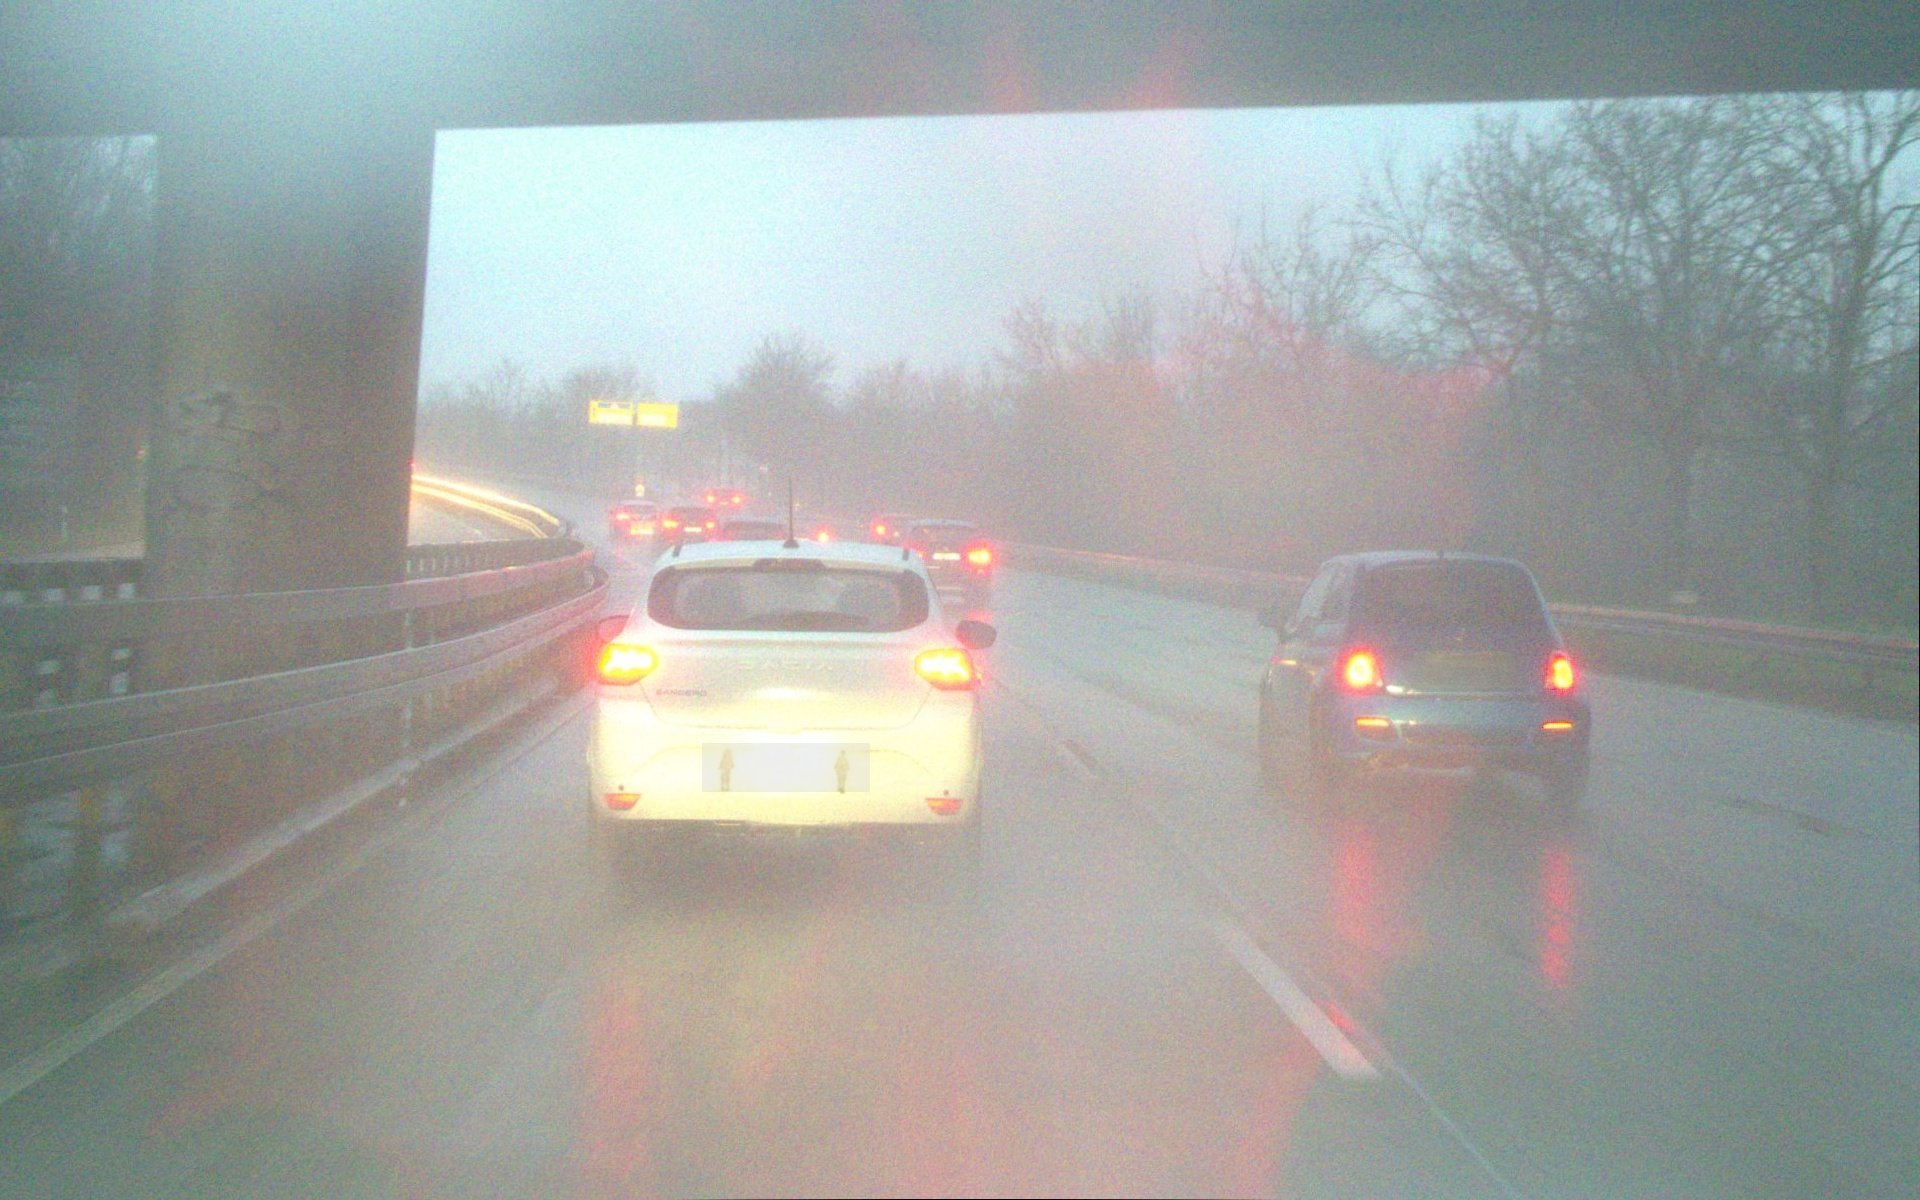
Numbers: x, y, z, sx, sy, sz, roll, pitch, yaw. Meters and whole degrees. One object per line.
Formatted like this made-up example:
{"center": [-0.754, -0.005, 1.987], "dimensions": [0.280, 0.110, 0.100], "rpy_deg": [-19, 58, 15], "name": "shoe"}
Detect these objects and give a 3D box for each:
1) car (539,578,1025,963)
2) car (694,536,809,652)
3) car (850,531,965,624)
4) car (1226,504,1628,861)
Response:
{"center": [-0.803, 0.741, 16.841], "dimensions": [2.025, 1.569, 4.000], "rpy_deg": [3, 0, -1], "name": "car"}
{"center": [-3.864, -0.108, 64.239], "dimensions": [1.993, 2.007, 4.000], "rpy_deg": [3, 0, -3], "name": "car"}
{"center": [-1.030, -0.405, 65.837], "dimensions": [1.932, 1.541, 3.773], "rpy_deg": [-3, -2, -4], "name": "car"}
{"center": [2.895, 0.492, 22.139], "dimensions": [1.932, 2.012, 3.773], "rpy_deg": [3, 0, -1], "name": "car"}
